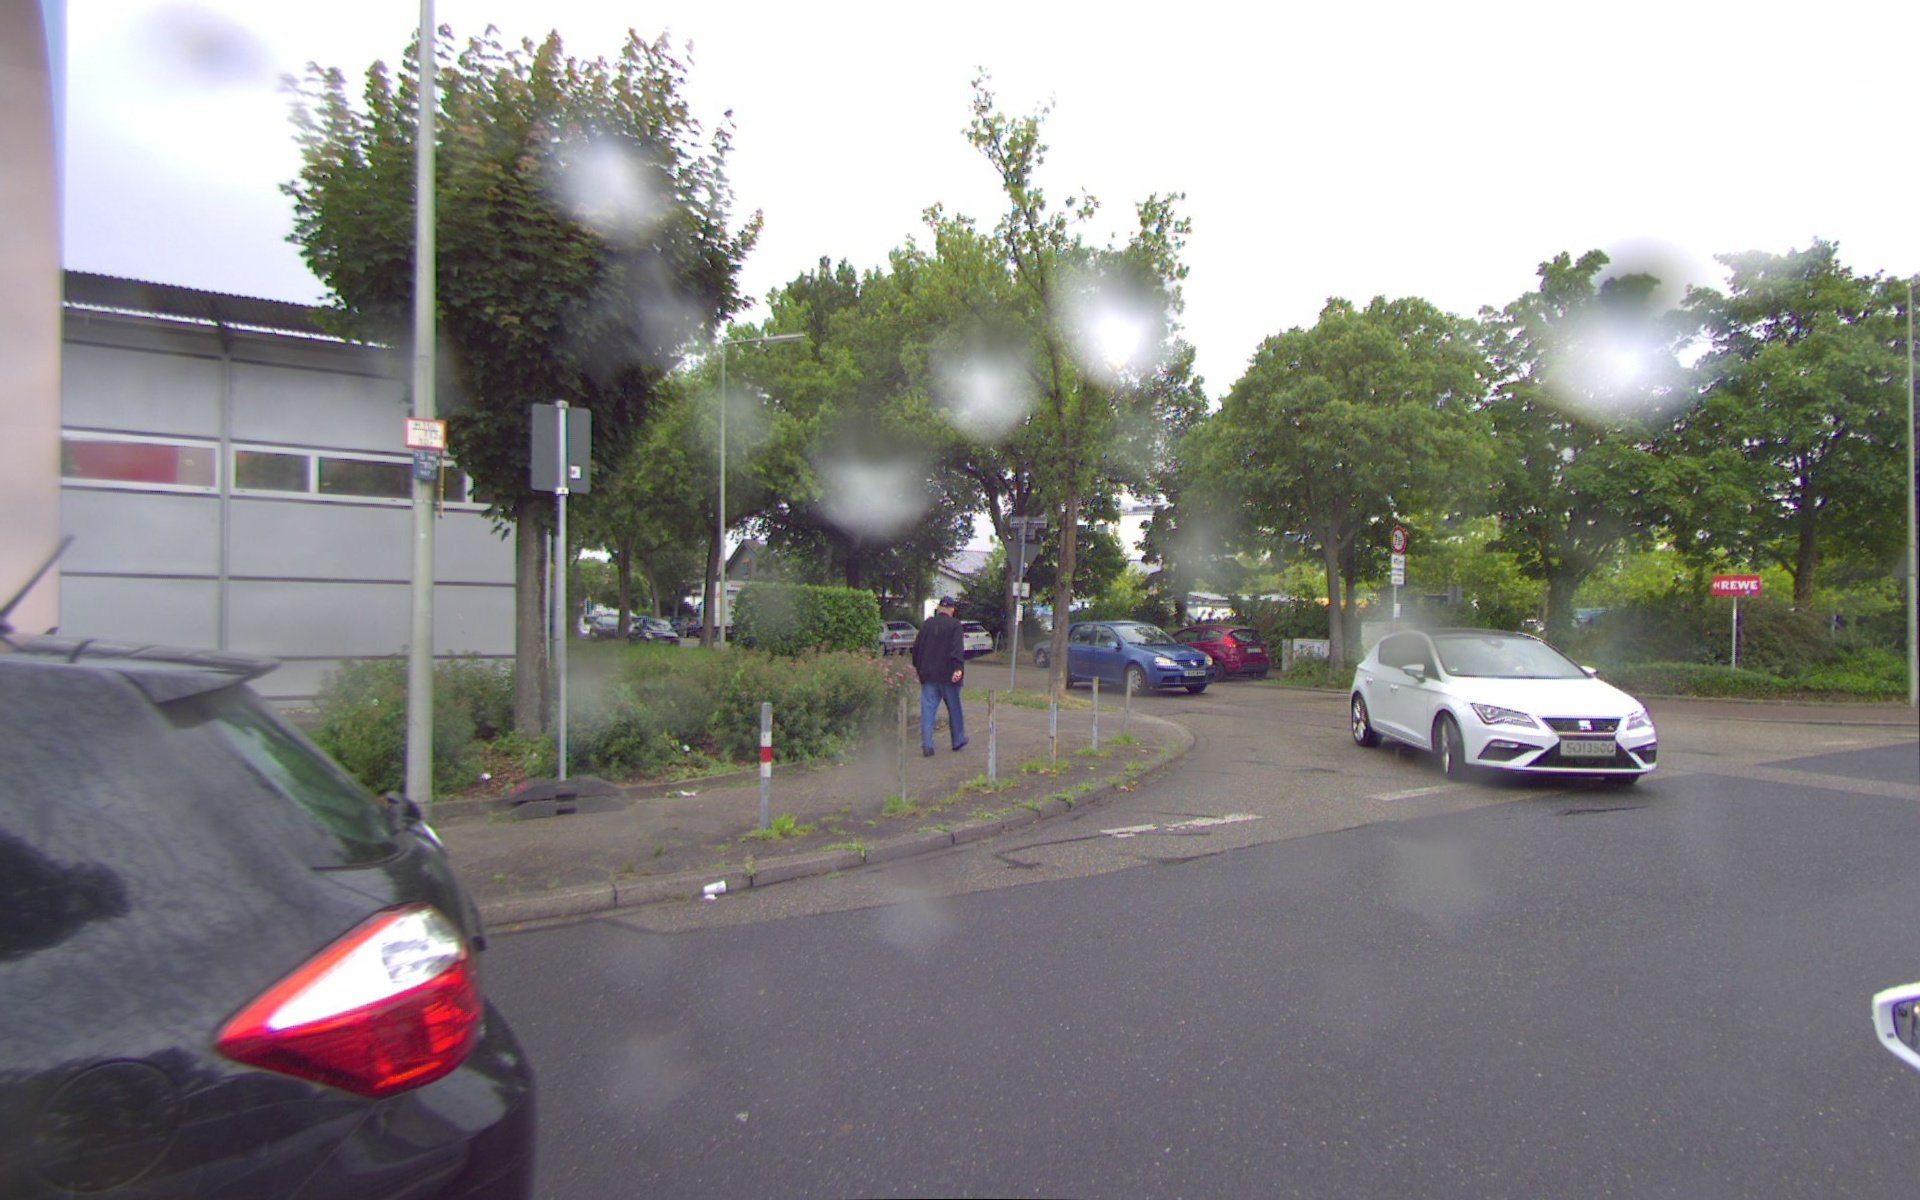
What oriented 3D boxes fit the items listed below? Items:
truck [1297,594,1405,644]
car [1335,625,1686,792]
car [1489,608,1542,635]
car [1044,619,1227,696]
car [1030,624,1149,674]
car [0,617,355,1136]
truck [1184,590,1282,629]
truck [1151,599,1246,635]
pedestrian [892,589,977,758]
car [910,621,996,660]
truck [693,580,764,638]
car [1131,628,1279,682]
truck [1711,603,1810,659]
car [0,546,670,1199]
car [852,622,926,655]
[{"bbox_3d":[21.684,1.089,55.625,6.316,2.636,1.986,1,-1,-28],"label":"truck"},{"bbox_3d":[5.555,1.004,10.787,1.701,1.460,4.002,0,-2,3],"label":"car"},{"bbox_3d":[45.566,1.779,82.340,3.951,2.040,1.985,2,-1,-29],"label":"car"},{"bbox_3d":[3.583,1.143,21.208,1.715,1.460,3.969,1,-2,-29],"label":"car"},{"bbox_3d":[4.026,1.496,31.720,1.715,1.460,3.969,1,-2,-29],"label":"car"},{"bbox_3d":[-4.404,0.780,2.911,4.437,1.453,1.828,1,-3,-30],"label":"car"},{"bbox_3d":[16.032,0.586,58.824,6.066,2.122,1.983,1,-1,-32],"label":"truck"},{"bbox_3d":[14.638,1.097,61.538,6.066,2.087,1.983,2,-1,-32],"label":"truck"},{"bbox_3d":[-0.253,0.748,10.587,0.743,1.696,0.783,0,-1,9],"label":"pedestrian"},{"bbox_3d":[-0.335,1.559,39.514,1.715,1.460,3.969,1,-2,-29],"label":"car"},{"bbox_3d":[-15.007,0.634,64.814,2.572,3.515,6.761,1,-1,-30],"label":"truck"},{"bbox_3d":[6.604,1.447,27.483,1.715,1.381,3.969,1,-2,-29],"label":"car"},{"bbox_3d":[42.164,1.632,52.857,6.392,2.789,1.984,2,-1,-31],"label":"truck"},{"bbox_3d":[-2.542,0.668,1.064,3.964,1.460,1.718,1,-2,-38],"label":"car"},{"bbox_3d":[-3.177,1.669,44.307,1.715,1.401,4.065,1,-2,-29],"label":"car"}]
